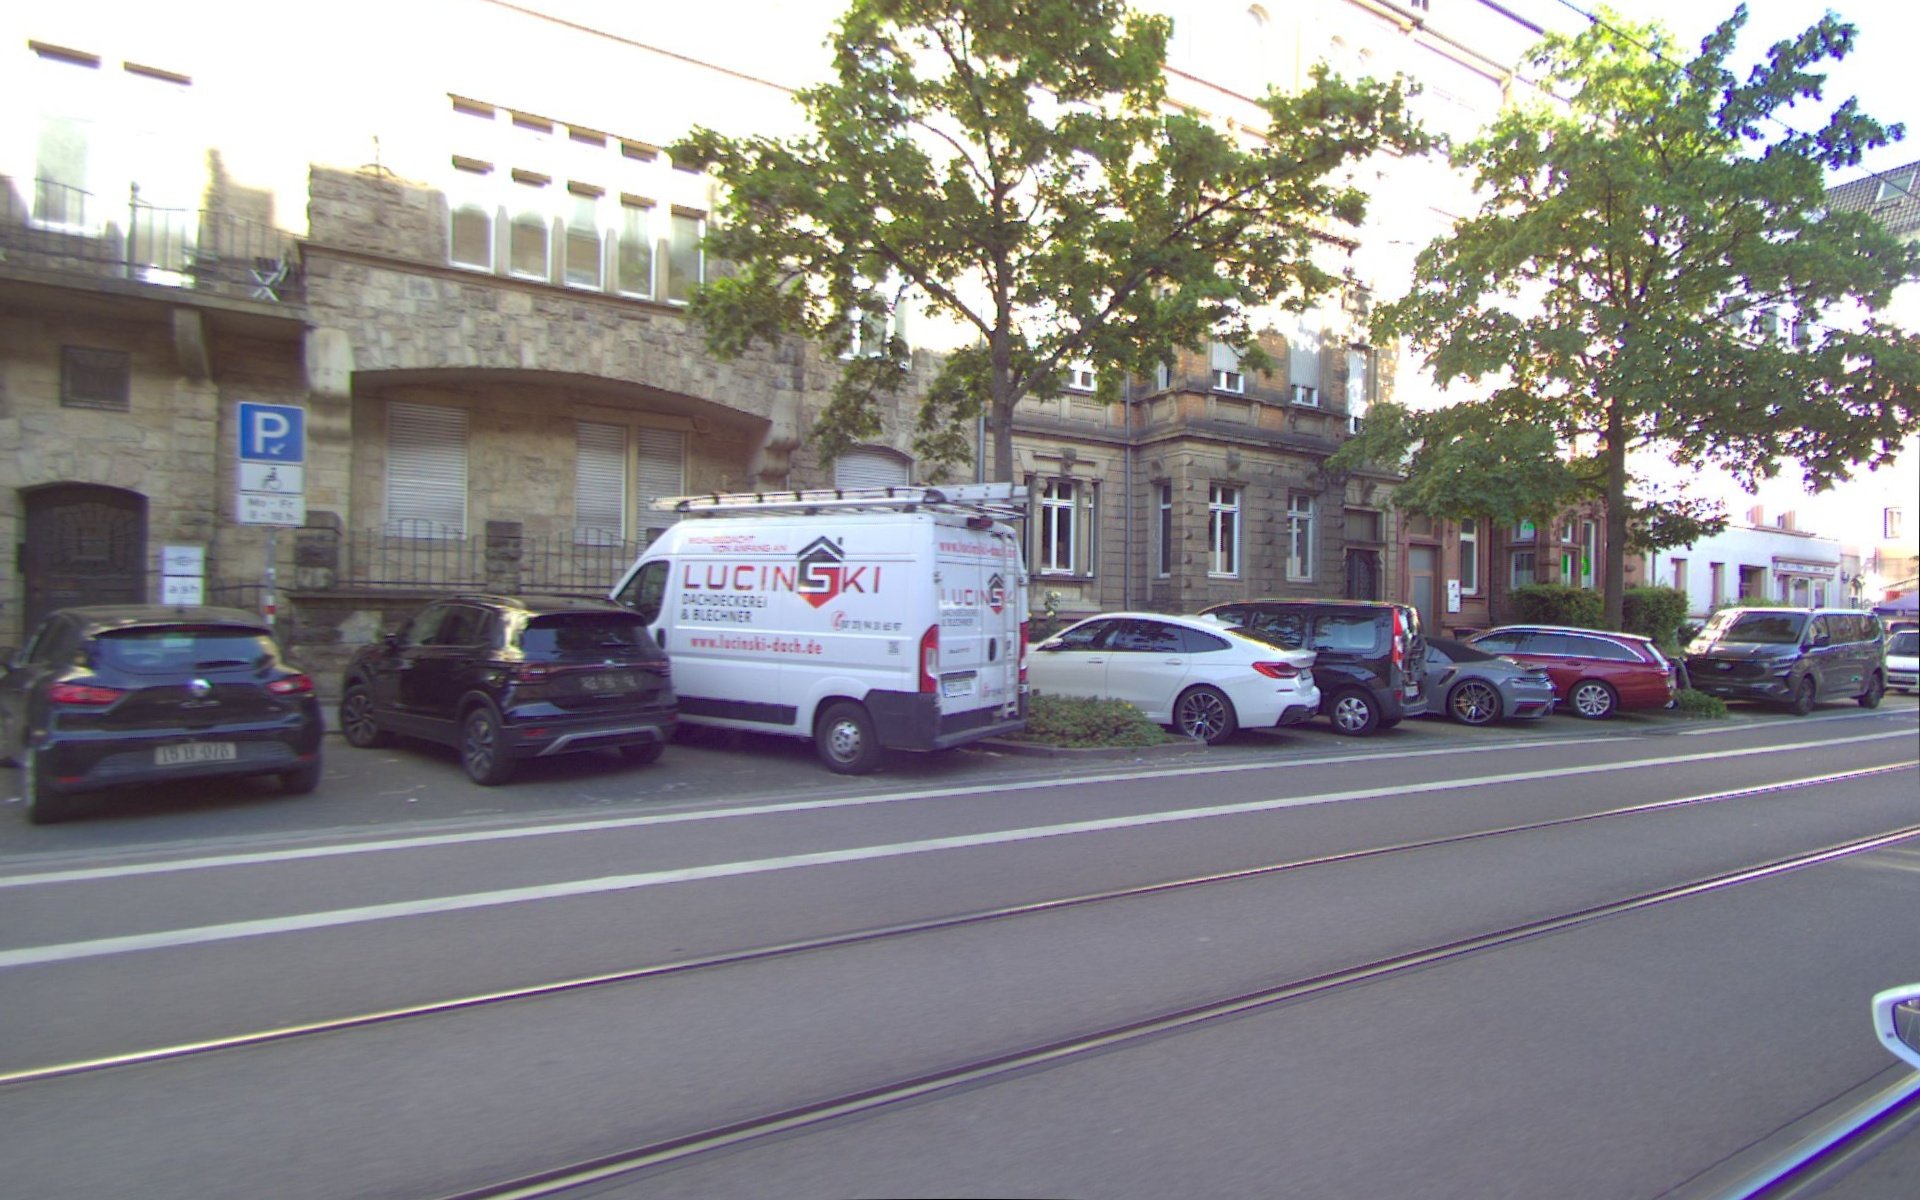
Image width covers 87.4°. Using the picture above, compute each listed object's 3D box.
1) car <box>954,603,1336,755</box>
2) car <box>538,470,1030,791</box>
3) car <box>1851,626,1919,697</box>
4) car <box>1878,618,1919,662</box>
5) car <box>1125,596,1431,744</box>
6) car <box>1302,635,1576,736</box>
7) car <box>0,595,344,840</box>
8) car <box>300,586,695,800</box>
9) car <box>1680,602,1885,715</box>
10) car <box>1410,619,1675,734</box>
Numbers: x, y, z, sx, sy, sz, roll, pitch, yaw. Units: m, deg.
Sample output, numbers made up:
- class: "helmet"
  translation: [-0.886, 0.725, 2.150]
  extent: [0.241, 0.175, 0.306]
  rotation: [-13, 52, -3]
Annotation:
- class: "car"
  translation: [2.394, 0.923, 13.348]
  extent: [4.683, 1.639, 1.710]
  rotation: [1, 0, 28]
- class: "car"
  translation: [-2.041, 0.227, 10.858]
  extent: [5.293, 2.785, 1.802]
  rotation: [1, 0, 31]
- class: "car"
  translation: [24.086, 1.515, 25.036]
  extent: [4.364, 1.639, 1.737]
  rotation: [2, 0, -34]
- class: "car"
  translation: [34.832, 1.457, 36.206]
  extent: [3.486, 1.488, 1.626]
  rotation: [2, 0, -30]
- class: "car"
  translation: [4.610, 0.910, 14.771]
  extent: [3.933, 1.841, 1.707]
  rotation: [1, 0, 35]
- class: "car"
  translation: [7.592, 1.283, 16.055]
  extent: [3.746, 1.282, 1.511]
  rotation: [1, 0, 35]
- class: "car"
  translation: [-6.752, 0.757, 8.399]
  extent: [3.945, 1.509, 1.795]
  rotation: [1, 0, 44]
- class: "car"
  translation: [-4.561, 0.735, 9.726]
  extent: [3.933, 1.639, 1.707]
  rotation: [1, 0, 35]
- class: "car"
  translation: [16.591, 1.125, 20.175]
  extent: [5.186, 2.000, 1.737]
  rotation: [2, 0, -34]
- class: "car"
  translation: [9.934, 1.214, 17.234]
  extent: [3.678, 1.644, 1.781]
  rotation: [1, 0, 39]
